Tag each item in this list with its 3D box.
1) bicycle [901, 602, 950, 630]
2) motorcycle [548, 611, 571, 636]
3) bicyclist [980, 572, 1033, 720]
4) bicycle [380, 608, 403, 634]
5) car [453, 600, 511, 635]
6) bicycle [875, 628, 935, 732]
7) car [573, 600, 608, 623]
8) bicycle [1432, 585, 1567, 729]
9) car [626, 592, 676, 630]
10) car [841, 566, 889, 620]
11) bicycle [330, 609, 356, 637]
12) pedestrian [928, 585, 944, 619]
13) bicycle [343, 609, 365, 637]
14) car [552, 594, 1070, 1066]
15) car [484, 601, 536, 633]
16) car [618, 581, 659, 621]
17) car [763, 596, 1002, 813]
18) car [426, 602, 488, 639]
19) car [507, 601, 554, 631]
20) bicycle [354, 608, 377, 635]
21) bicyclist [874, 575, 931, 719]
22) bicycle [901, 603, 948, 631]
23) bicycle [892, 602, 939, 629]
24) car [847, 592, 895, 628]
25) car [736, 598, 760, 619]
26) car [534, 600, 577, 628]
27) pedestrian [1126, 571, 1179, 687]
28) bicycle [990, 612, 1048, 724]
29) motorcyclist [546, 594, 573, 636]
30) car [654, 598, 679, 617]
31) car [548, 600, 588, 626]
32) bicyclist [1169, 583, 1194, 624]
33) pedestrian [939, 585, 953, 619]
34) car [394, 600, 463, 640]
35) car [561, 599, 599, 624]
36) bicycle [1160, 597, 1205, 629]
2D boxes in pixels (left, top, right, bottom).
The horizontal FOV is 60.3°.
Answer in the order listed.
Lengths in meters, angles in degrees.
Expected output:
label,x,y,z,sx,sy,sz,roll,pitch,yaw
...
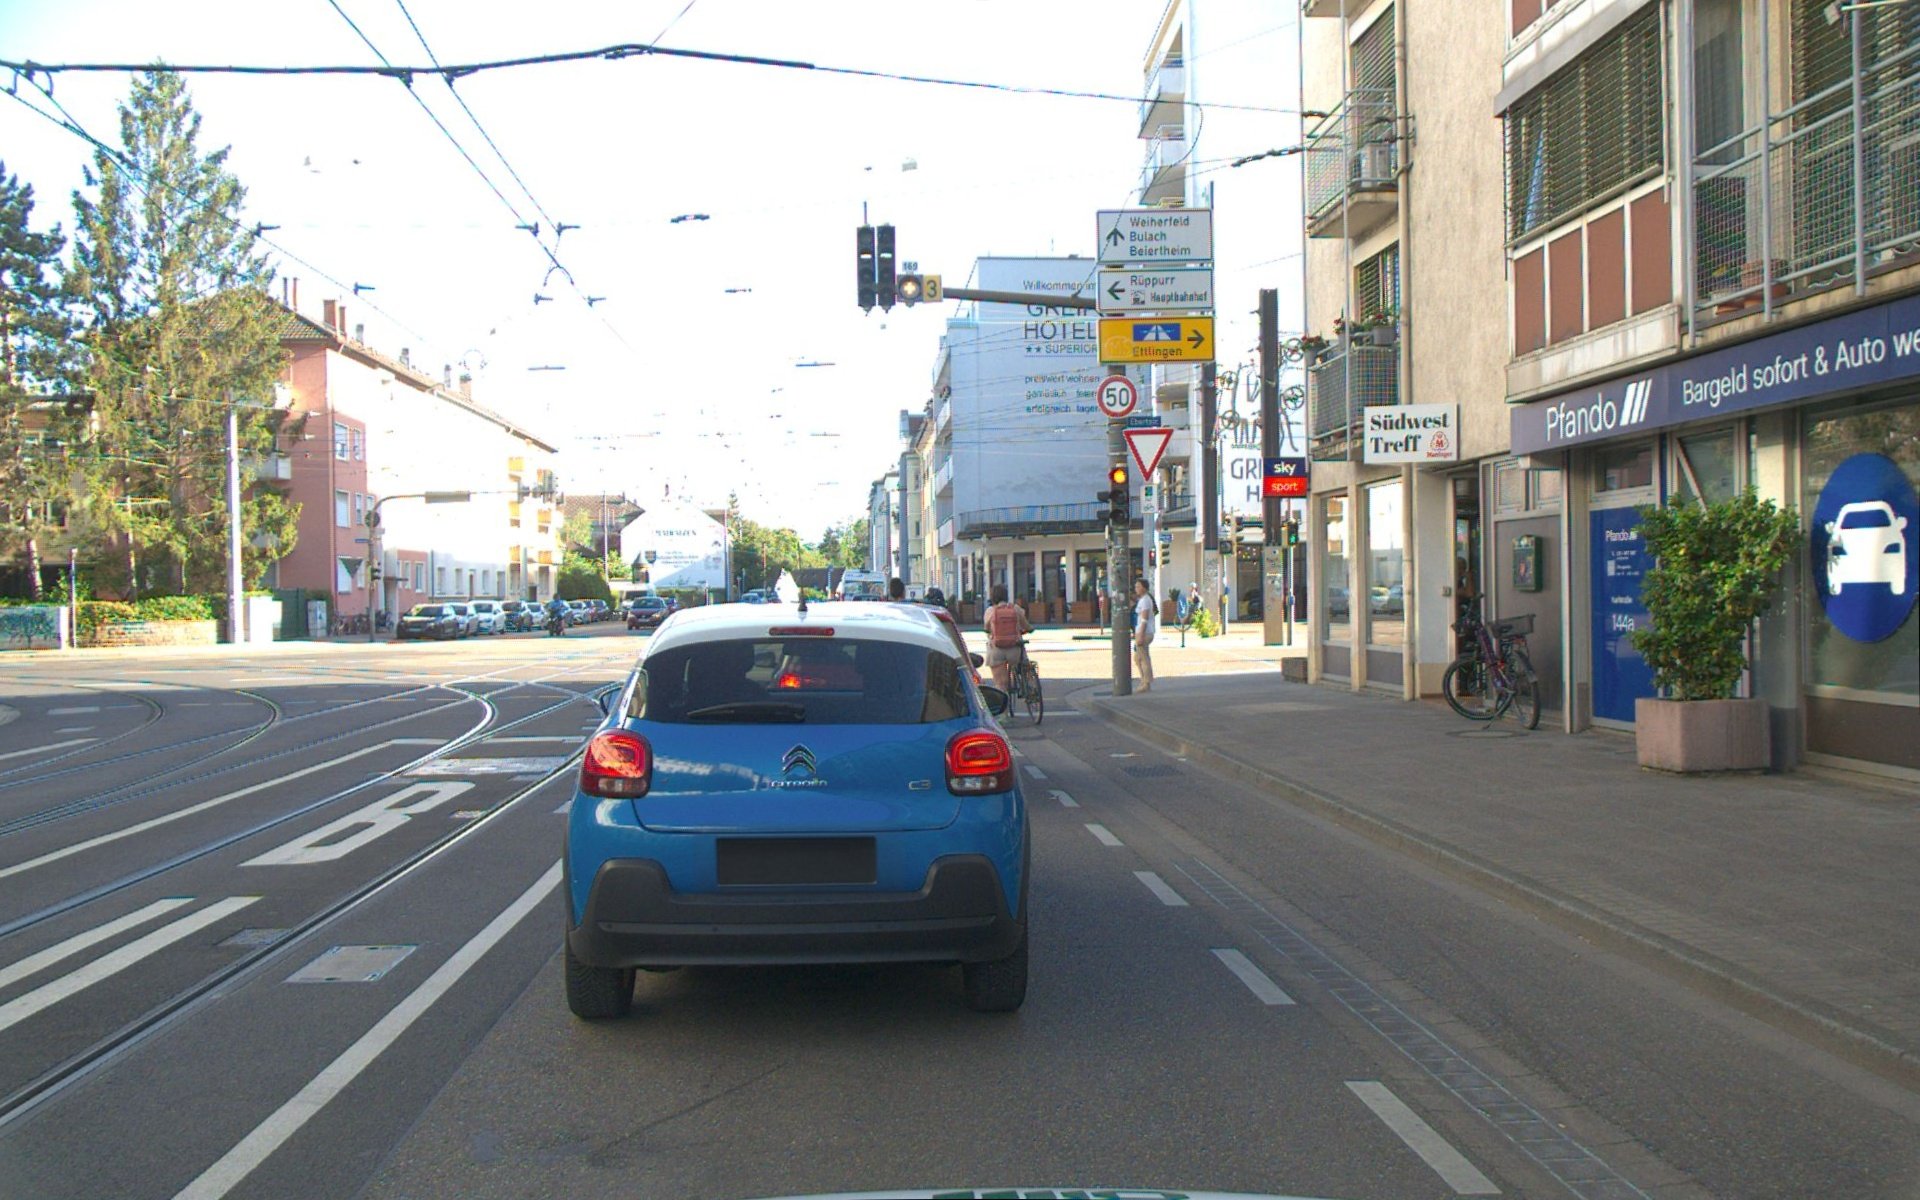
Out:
label,x,y,z,sx,sy,sz,roll,pitch,yaw
bicycle,-1.388,0.642,65.756,1.868,1.083,0.641,-1,0,-8
motorcycle,-16.221,0.942,66.999,0.738,0.993,2.092,-1,0,-9
bicyclist,0.569,0.553,20.572,0.588,1.776,1.084,-1,0,-1
bicycle,-25.667,0.944,74.671,0.597,1.101,1.908,-1,0,-7
car,-22.750,0.824,78.840,1.913,1.545,3.995,-1,0,-6
bicycle,-0.671,0.921,19.697,0.604,1.123,1.884,-1,0,-5
car,-25.558,0.793,114.572,1.913,1.545,3.995,-1,0,-6
bicycle,5.114,0.505,15.795,0.627,1.286,1.910,-1,0,-1
car,-14.486,0.494,77.700,1.967,1.656,5.045,-1,0,-7
car,-4.226,-0.315,73.155,2.039,2.309,5.646,0,0,-4
bicycle,-24.977,0.922,66.970,0.628,1.101,1.905,-1,0,-11
pedestrian,-1.005,0.092,70.215,0.514,1.445,0.547,-1,0,19
bicycle,-24.583,0.932,67.095,0.527,1.101,1.905,-1,0,-11
car,-0.612,0.732,7.327,1.647,1.488,3.997,1,0,-4
car,-23.227,0.843,85.497,1.913,1.545,3.995,-1,0,-6
car,-23.215,0.073,119.556,2.446,2.759,5.828,-1,0,-7
car,-0.678,0.727,13.536,1.647,1.488,3.997,1,0,-4
car,-22.548,0.879,74.234,1.913,1.545,4.040,-1,0,-6
car,-23.757,0.860,91.546,1.913,1.545,3.995,-1,0,-6
bicycle,-25.869,0.931,71.966,0.527,1.101,1.908,-1,0,-7
bicyclist,-0.687,0.538,19.593,0.604,1.658,0.759,-1,0,-5
bicycle,-1.441,0.667,67.061,1.868,1.083,0.641,-1,0,-8
bicycle,-1.855,0.644,68.248,1.868,1.083,0.641,-1,0,-8
car,-3.671,0.386,67.717,1.752,1.383,3.909,-1,0,-6
car,-21.798,0.815,170.471,2.293,2.074,5.044,-1,0,-6
car,-23.927,0.827,97.971,1.913,1.545,3.995,-1,0,-6
pedestrian,2.821,0.414,24.319,0.735,1.663,0.740,-1,0,5
bicycle,0.722,0.815,20.613,0.601,1.286,1.910,-1,0,-1
motorcyclist,-16.200,0.610,66.931,0.973,1.659,0.737,-1,0,-10
car,-25.563,0.650,144.144,1.913,1.545,3.995,-1,0,-6
car,-24.401,0.812,102.968,1.913,1.545,3.995,-1,0,-6
bicyclist,7.970,0.122,59.458,0.713,1.459,0.605,-1,0,28
pedestrian,-0.580,0.087,69.970,0.459,1.445,0.525,-1,0,-13
car,-22.009,0.794,68.629,1.913,1.545,3.995,-1,0,-6
car,-24.842,0.754,108.242,1.913,1.545,3.995,-1,0,-6
bicycle,7.983,0.479,59.417,1.460,1.110,0.605,-1,0,28
